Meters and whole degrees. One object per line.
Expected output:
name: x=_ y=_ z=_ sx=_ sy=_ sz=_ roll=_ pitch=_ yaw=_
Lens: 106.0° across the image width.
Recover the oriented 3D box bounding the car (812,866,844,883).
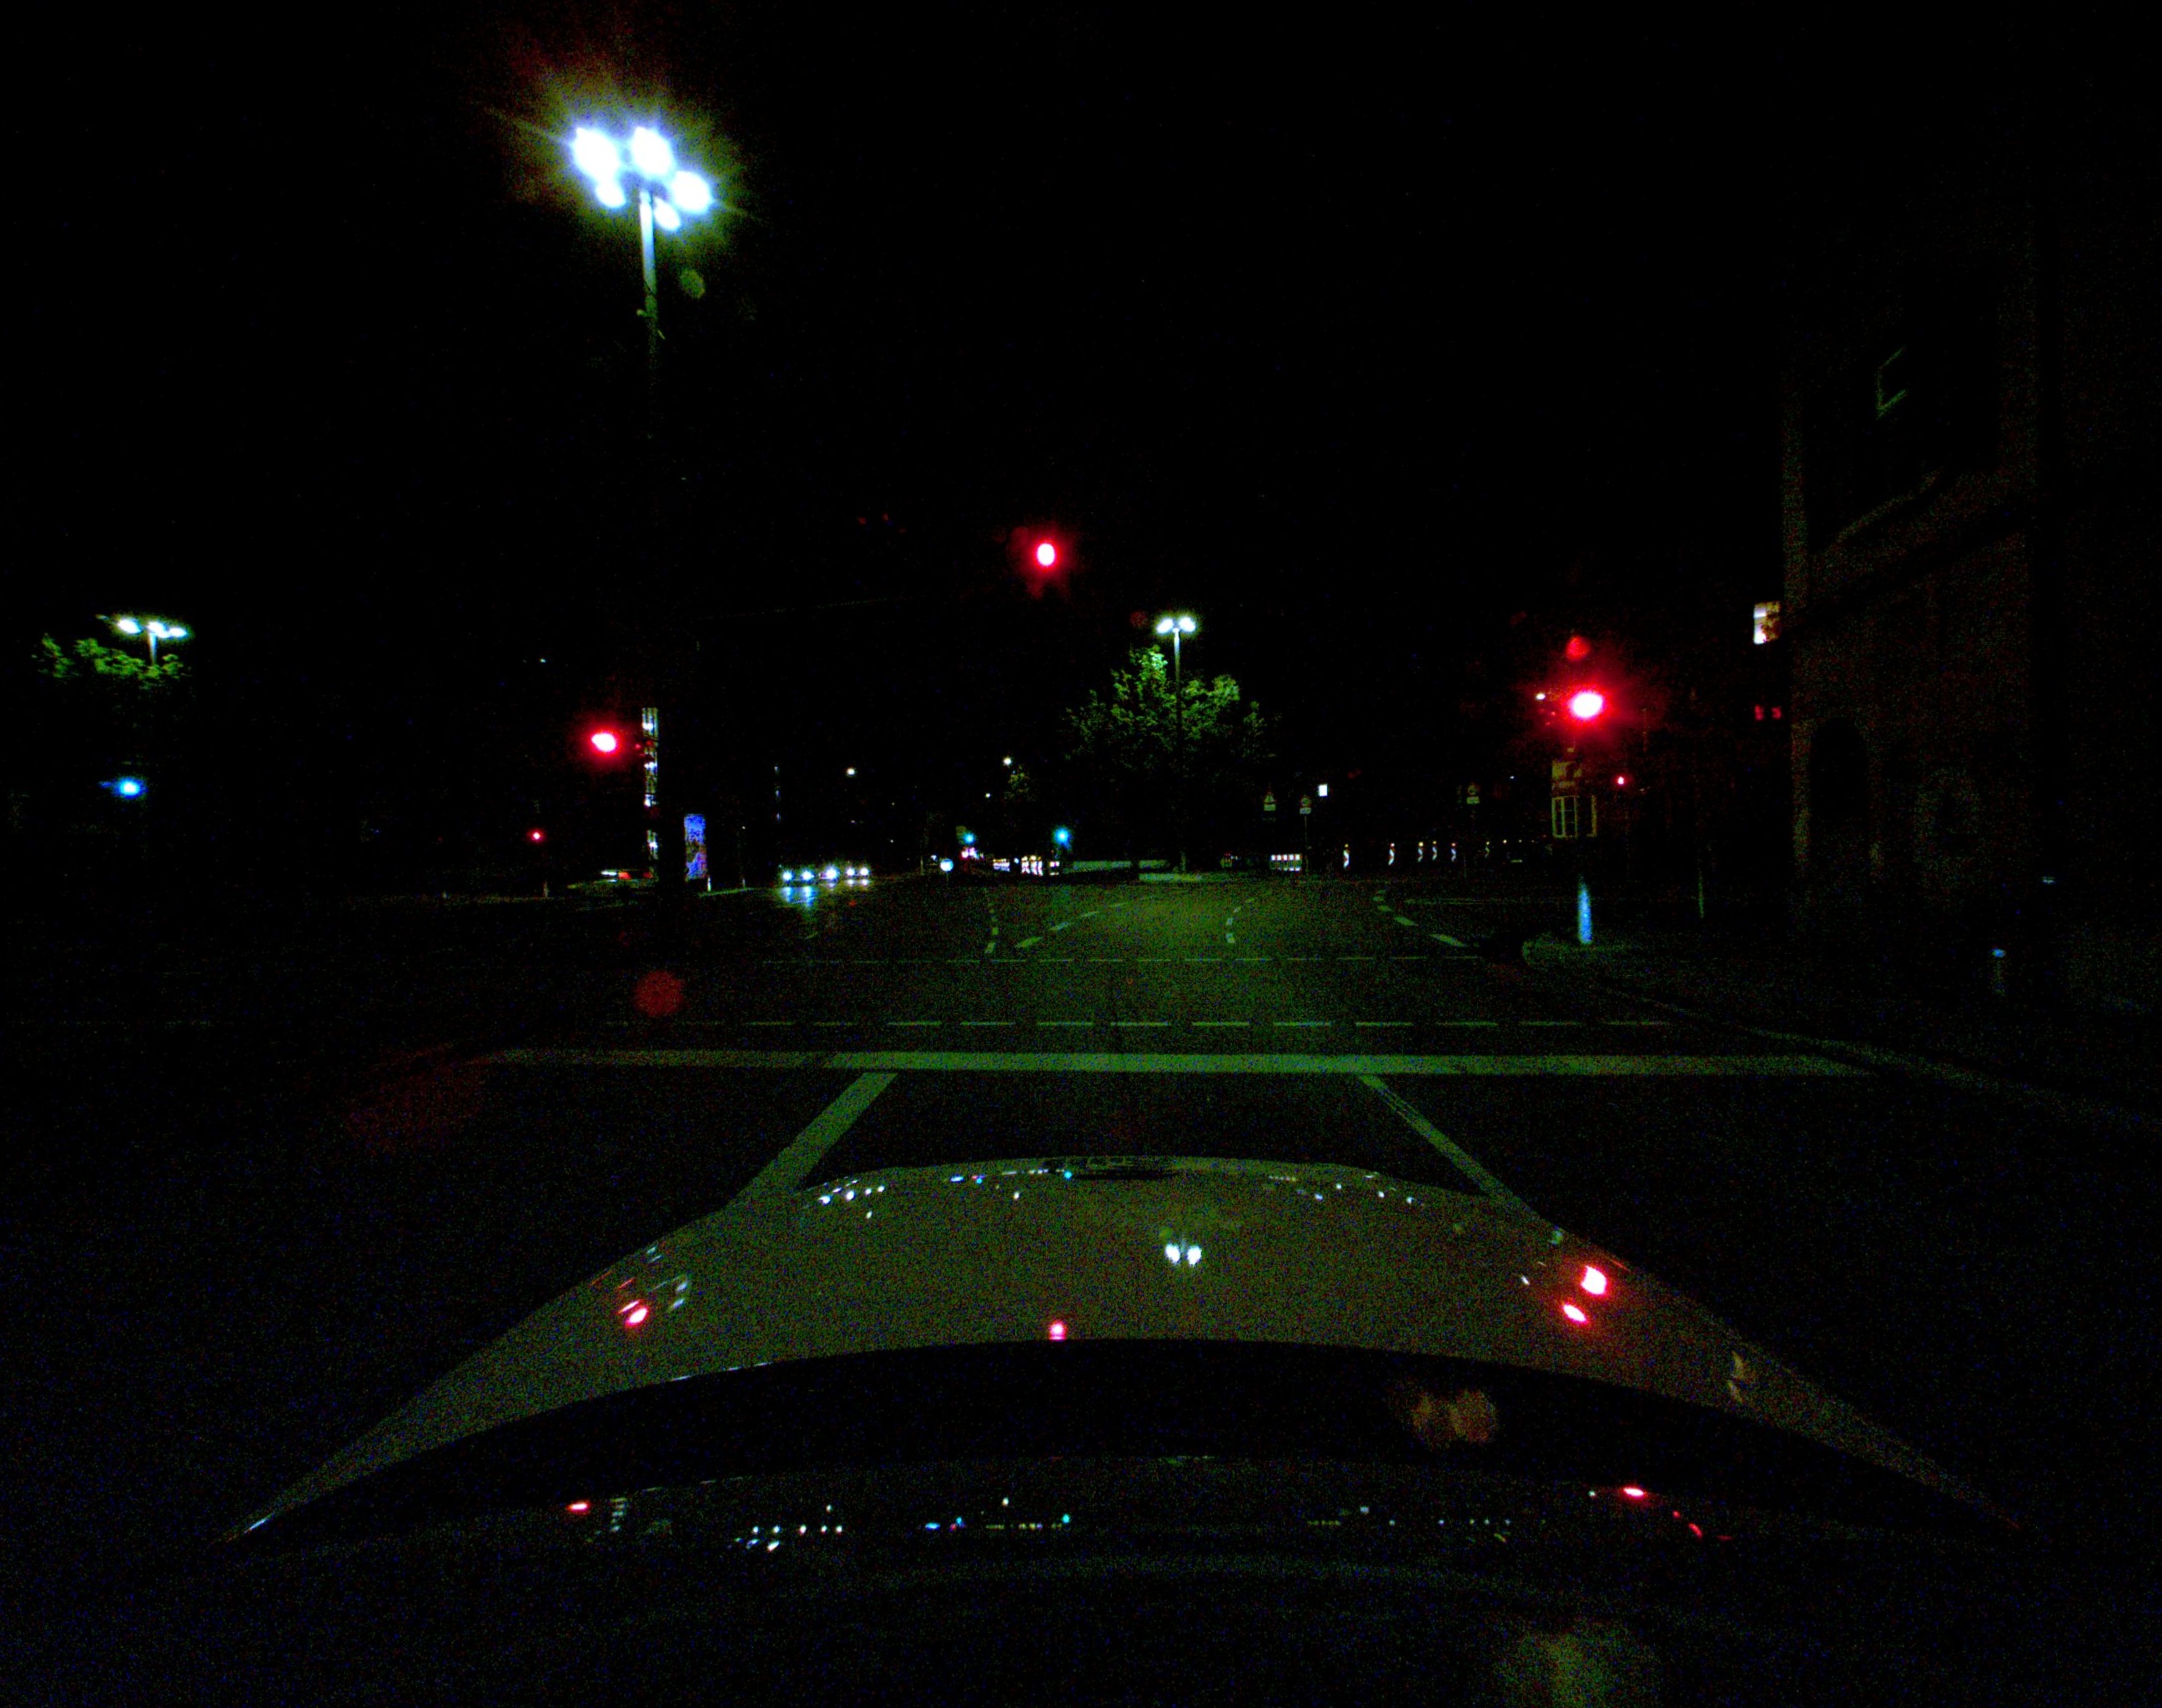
car: x=-19.949 y=1.602 z=64.243 sx=1.756 sy=1.322 sz=3.539 roll=-2 pitch=-1 yaw=-7

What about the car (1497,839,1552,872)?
car: x=23.018 y=0.080 z=42.205 sx=1.711 sy=1.612 sz=3.646 roll=-2 pitch=-1 yaw=41

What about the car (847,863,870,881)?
car: x=-22.425 y=1.777 z=82.199 sx=1.756 sy=1.728 sz=3.539 roll=-2 pitch=-1 yaw=-7

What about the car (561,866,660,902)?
car: x=-21.405 y=1.351 z=37.079 sx=3.953 sy=1.491 sz=1.717 roll=-2 pitch=-1 yaw=20

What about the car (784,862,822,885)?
car: x=-19.312 y=1.339 z=56.701 sx=1.614 sy=1.515 sz=3.991 roll=-2 pitch=-1 yaw=-6
